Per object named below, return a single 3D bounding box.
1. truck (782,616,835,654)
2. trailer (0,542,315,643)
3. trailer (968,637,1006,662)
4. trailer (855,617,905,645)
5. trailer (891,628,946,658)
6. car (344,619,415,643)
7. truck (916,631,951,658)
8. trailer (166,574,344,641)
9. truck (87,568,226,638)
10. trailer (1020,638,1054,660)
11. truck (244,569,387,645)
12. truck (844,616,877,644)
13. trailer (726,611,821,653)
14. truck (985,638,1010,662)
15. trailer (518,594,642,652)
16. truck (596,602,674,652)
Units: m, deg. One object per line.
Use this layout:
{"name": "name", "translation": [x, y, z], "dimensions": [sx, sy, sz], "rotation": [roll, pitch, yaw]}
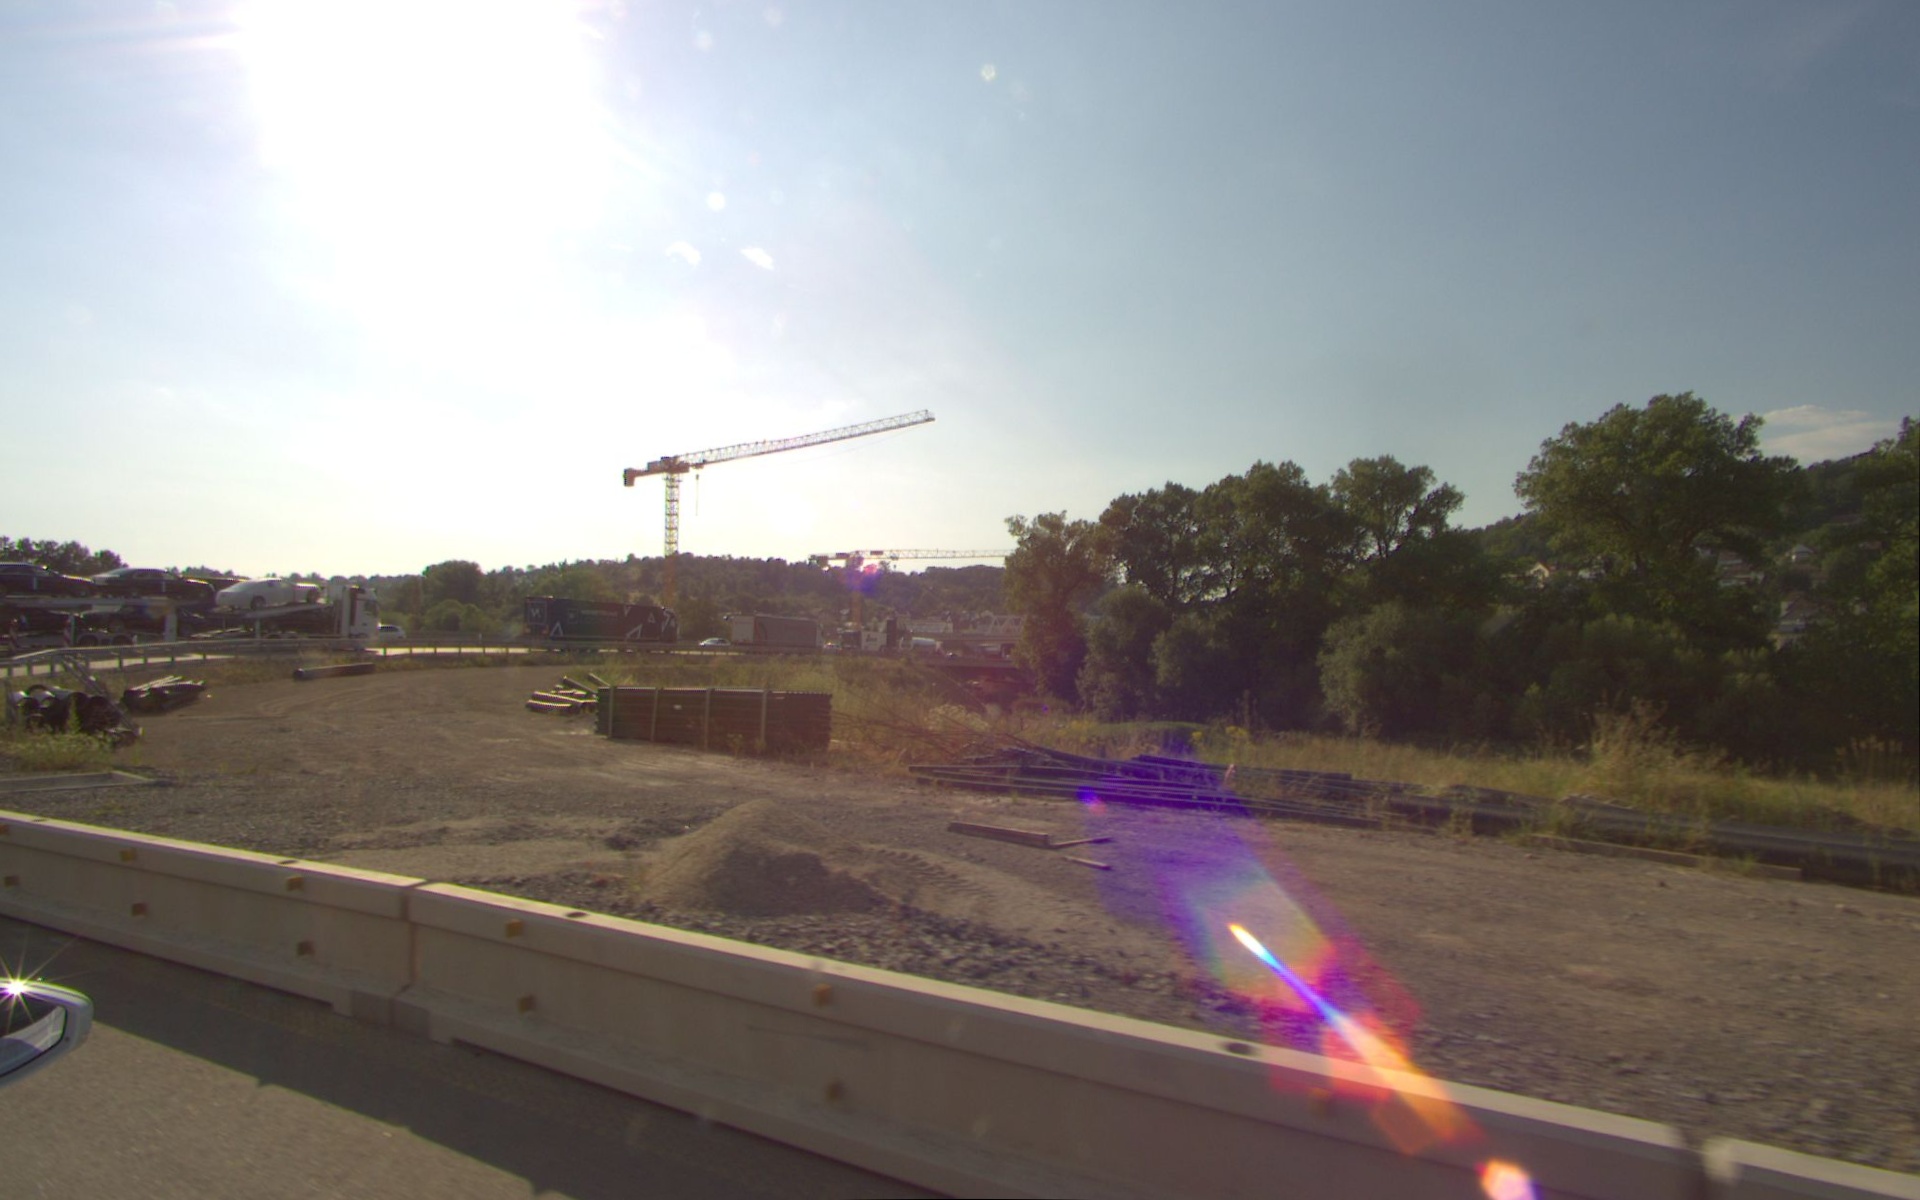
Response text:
{"name": "truck", "translation": [-17.632, 4.136, 116.876], "dimensions": [3.294, 4.046, 6.619], "rotation": [1, -3, 18]}
{"name": "trailer", "translation": [-40.538, -0.066, 49.891], "dimensions": [2.815, 4.045, 15.734], "rotation": [1, -3, 18]}
{"name": "trailer", "translation": [5.142, 9.283, 187.576], "dimensions": [3.058, 4.367, 14.241], "rotation": [1, -3, 18]}
{"name": "trailer", "translation": [-12.736, 5.095, 160.698], "dimensions": [2.589, 4.116, 14.066], "rotation": [0, -4, 19]}
{"name": "trailer", "translation": [-6.189, 6.634, 152.570], "dimensions": [3.335, 4.045, 14.734], "rotation": [1, -3, 18]}
{"name": "car", "translation": [-40.698, 2.184, 70.316], "dimensions": [1.632, 1.519, 4.233], "rotation": [3, -2, 19]}
{"name": "truck", "translation": [-4.177, 7.019, 158.680], "dimensions": [3.340, 4.046, 6.619], "rotation": [1, -3, 18]}
{"name": "trailer", "translation": [-45.908, 0.656, 65.740], "dimensions": [2.963, 3.797, 9.560], "rotation": [0, -3, 19]}
{"name": "truck", "translation": [-47.914, 0.284, 59.898], "dimensions": [2.953, 3.773, 5.683], "rotation": [0, -3, 19]}
{"name": "trailer", "translation": [17.194, 10.902, 221.495], "dimensions": [4.037, 4.367, 14.241], "rotation": [1, -3, 18]}
{"name": "truck", "translation": [-37.602, 0.503, 58.694], "dimensions": [2.806, 4.046, 6.619], "rotation": [1, -3, 18]}
{"name": "truck", "translation": [-15.175, 4.662, 153.453], "dimensions": [2.589, 4.116, 6.124], "rotation": [0, -3, 19]}
{"name": "trailer", "translation": [-20.088, 3.632, 109.414], "dimensions": [3.335, 4.045, 14.734], "rotation": [1, -3, 18]}
{"name": "truck", "translation": [7.392, 9.752, 194.496], "dimensions": [3.052, 4.338, 6.619], "rotation": [1, -3, 18]}
{"name": "trailer", "translation": [-30.157, 1.948, 80.165], "dimensions": [2.916, 4.141, 10.782], "rotation": [0, -3, 19]}
{"name": "truck", "translation": [-27.971, 2.400, 86.448], "dimensions": [2.843, 4.046, 6.618], "rotation": [1, -3, 20]}
